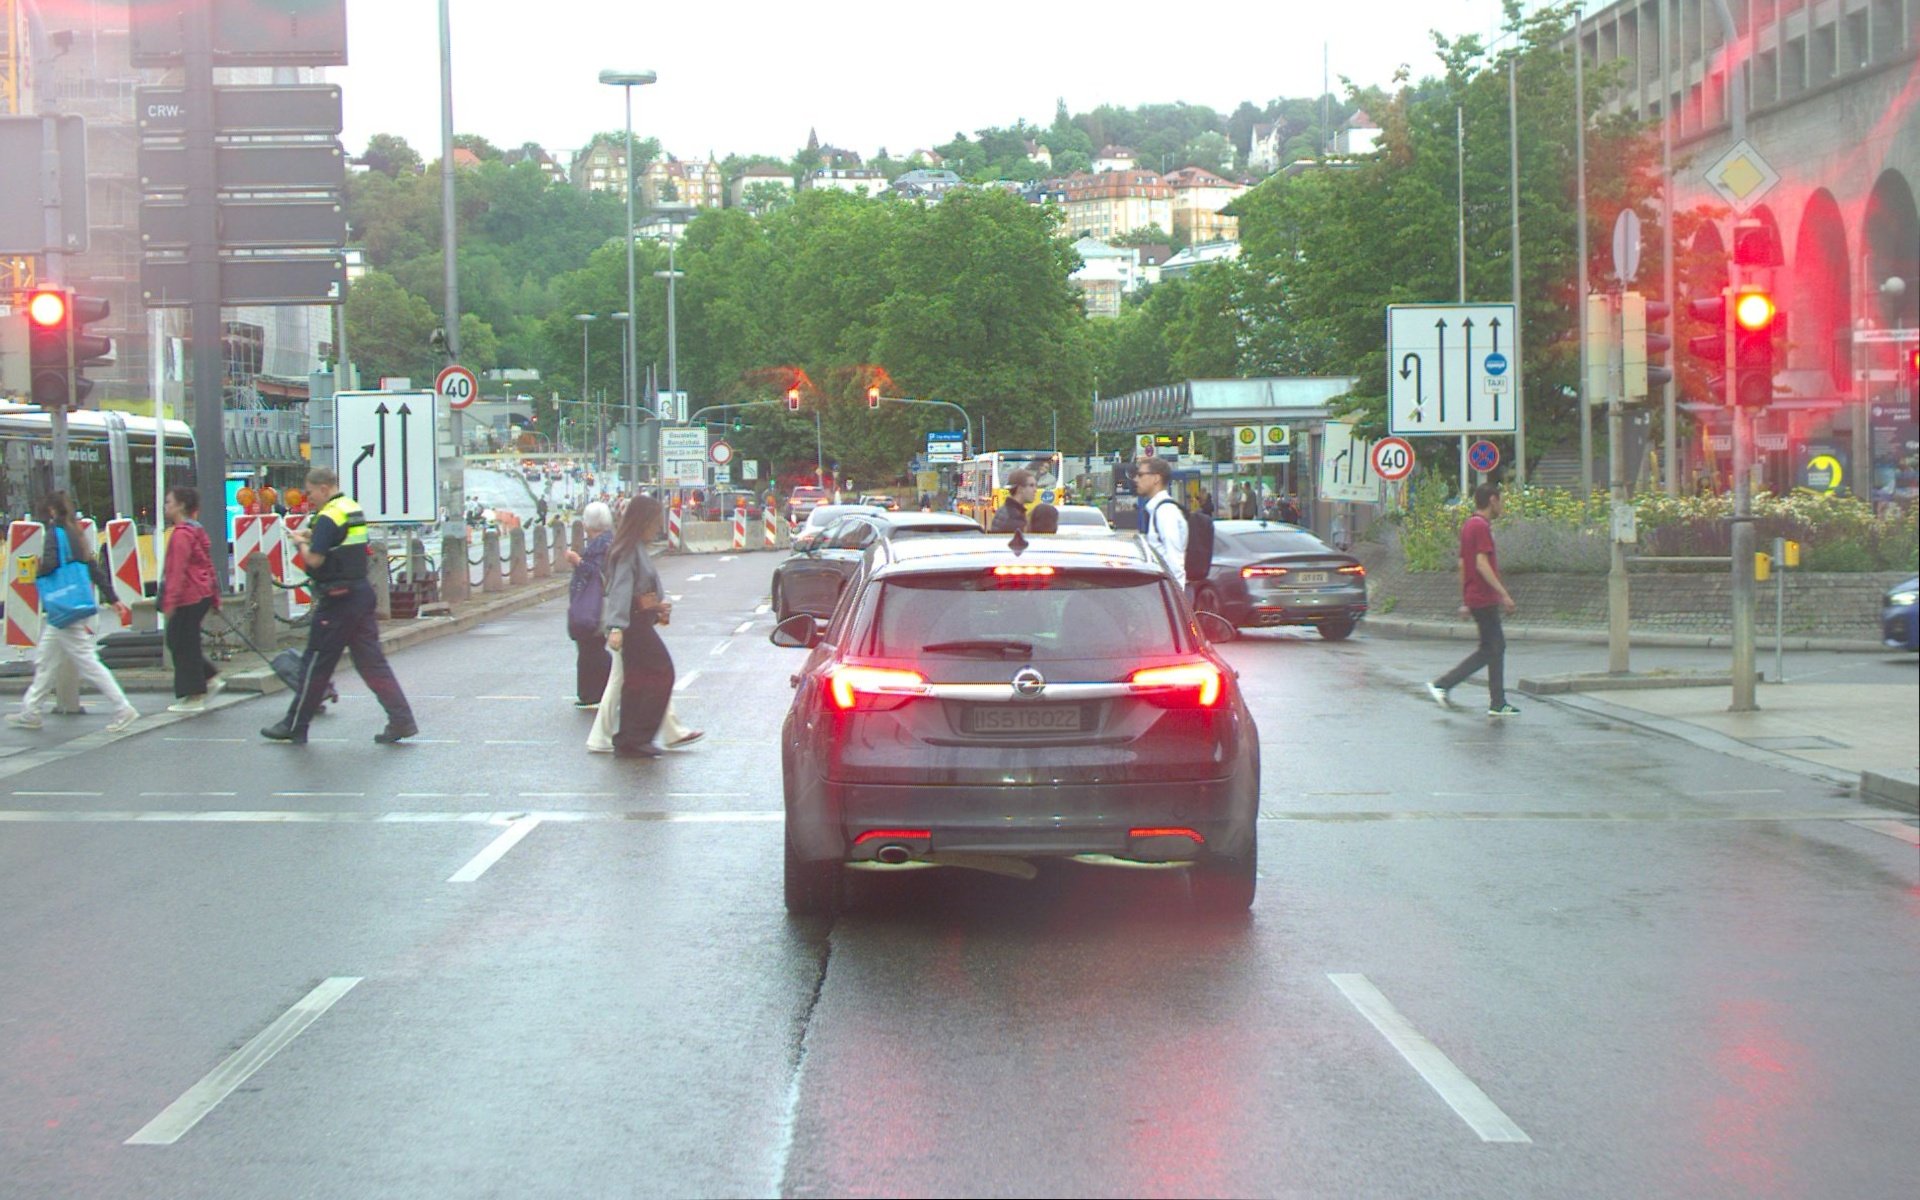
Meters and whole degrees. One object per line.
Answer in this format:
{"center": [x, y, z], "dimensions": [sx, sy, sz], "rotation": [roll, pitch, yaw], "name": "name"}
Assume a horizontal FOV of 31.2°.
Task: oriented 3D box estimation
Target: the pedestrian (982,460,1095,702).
{"center": [0.561, -0.141, 24.639], "dimensions": [0.755, 1.711, 0.466], "rotation": [1, 1, -4], "name": "pedestrian"}

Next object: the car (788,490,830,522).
{"center": [-6.842, -4.269, 156.027], "dimensions": [1.759, 1.393, 3.564], "rotation": [1, 1, 0], "name": "car"}

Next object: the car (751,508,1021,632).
{"center": [-0.957, -0.382, 41.204], "dimensions": [1.752, 1.393, 4.539], "rotation": [0, 1, -21], "name": "car"}

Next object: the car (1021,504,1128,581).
{"center": [2.116, -1.084, 64.544], "dimensions": [1.845, 1.393, 3.564], "rotation": [1, 1, 0], "name": "car"}

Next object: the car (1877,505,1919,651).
{"center": [11.244, -0.190, 33.015], "dimensions": [4.637, 1.393, 1.757], "rotation": [1, 1, 17], "name": "car"}

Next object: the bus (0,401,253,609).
{"center": [-15.722, -1.747, 64.962], "dimensions": [2.668, 3.589, 10.212], "rotation": [1, 1, 0], "name": "bus"}

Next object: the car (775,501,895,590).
{"center": [-2.095, -0.898, 56.600], "dimensions": [1.753, 1.393, 4.539], "rotation": [1, 1, -5], "name": "car"}

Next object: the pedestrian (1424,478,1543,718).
{"center": [3.878, -0.018, 25.452], "dimensions": [0.570, 1.746, 0.679], "rotation": [1, 1, 43], "name": "pedestrian"}

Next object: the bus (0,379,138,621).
{"center": [-15.631, -1.566, 54.777], "dimensions": [2.668, 3.589, 10.240], "rotation": [1, 1, 0], "name": "bus"}

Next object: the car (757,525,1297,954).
{"center": [0.203, 0.453, 14.026], "dimensions": [1.874, 1.481, 4.000], "rotation": [1, 1, -1], "name": "car"}

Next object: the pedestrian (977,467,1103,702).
{"center": [0.549, -0.109, 23.828], "dimensions": [0.799, 1.603, 0.620], "rotation": [1, 1, -4], "name": "pedestrian"}

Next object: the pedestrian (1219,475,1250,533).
{"center": [8.122, -2.834, 101.827], "dimensions": [0.763, 1.684, 0.825], "rotation": [1, 1, -4], "name": "pedestrian"}

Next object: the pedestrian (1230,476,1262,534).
{"center": [8.377, -2.767, 100.715], "dimensions": [0.763, 1.684, 0.825], "rotation": [1, 1, -4], "name": "pedestrian"}

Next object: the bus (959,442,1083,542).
{"center": [2.129, -3.902, 127.230], "dimensions": [4.173, 3.457, 14.655], "rotation": [1, 1, 0], "name": "bus"}

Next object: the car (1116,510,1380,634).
{"center": [3.372, -0.358, 41.153], "dimensions": [1.752, 1.393, 4.403], "rotation": [0, 1, -15], "name": "car"}

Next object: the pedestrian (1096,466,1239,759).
{"center": [1.353, 0.076, 22.497], "dimensions": [0.798, 1.884, 0.620], "rotation": [1, 1, -9], "name": "pedestrian"}

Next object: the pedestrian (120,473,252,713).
{"center": [-5.672, -0.055, 25.217], "dimensions": [0.799, 1.711, 0.620], "rotation": [-2, 1, -4], "name": "pedestrian"}

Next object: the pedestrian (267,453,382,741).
{"center": [-4.111, -0.026, 22.275], "dimensions": [0.578, 1.829, 0.820], "rotation": [1, 1, 0], "name": "pedestrian"}

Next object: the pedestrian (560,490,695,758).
{"center": [-2.052, 0.141, 21.308], "dimensions": [0.793, 1.620, 0.900], "rotation": [1, 1, -4], "name": "pedestrian"}

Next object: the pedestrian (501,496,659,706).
{"center": [-2.874, -0.005, 26.016], "dimensions": [0.786, 1.555, 0.873], "rotation": [1, 1, 39], "name": "pedestrian"}

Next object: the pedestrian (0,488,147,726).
{"center": [-6.005, 0.037, 23.085], "dimensions": [0.915, 1.558, 0.900], "rotation": [1, 1, -4], "name": "pedestrian"}
